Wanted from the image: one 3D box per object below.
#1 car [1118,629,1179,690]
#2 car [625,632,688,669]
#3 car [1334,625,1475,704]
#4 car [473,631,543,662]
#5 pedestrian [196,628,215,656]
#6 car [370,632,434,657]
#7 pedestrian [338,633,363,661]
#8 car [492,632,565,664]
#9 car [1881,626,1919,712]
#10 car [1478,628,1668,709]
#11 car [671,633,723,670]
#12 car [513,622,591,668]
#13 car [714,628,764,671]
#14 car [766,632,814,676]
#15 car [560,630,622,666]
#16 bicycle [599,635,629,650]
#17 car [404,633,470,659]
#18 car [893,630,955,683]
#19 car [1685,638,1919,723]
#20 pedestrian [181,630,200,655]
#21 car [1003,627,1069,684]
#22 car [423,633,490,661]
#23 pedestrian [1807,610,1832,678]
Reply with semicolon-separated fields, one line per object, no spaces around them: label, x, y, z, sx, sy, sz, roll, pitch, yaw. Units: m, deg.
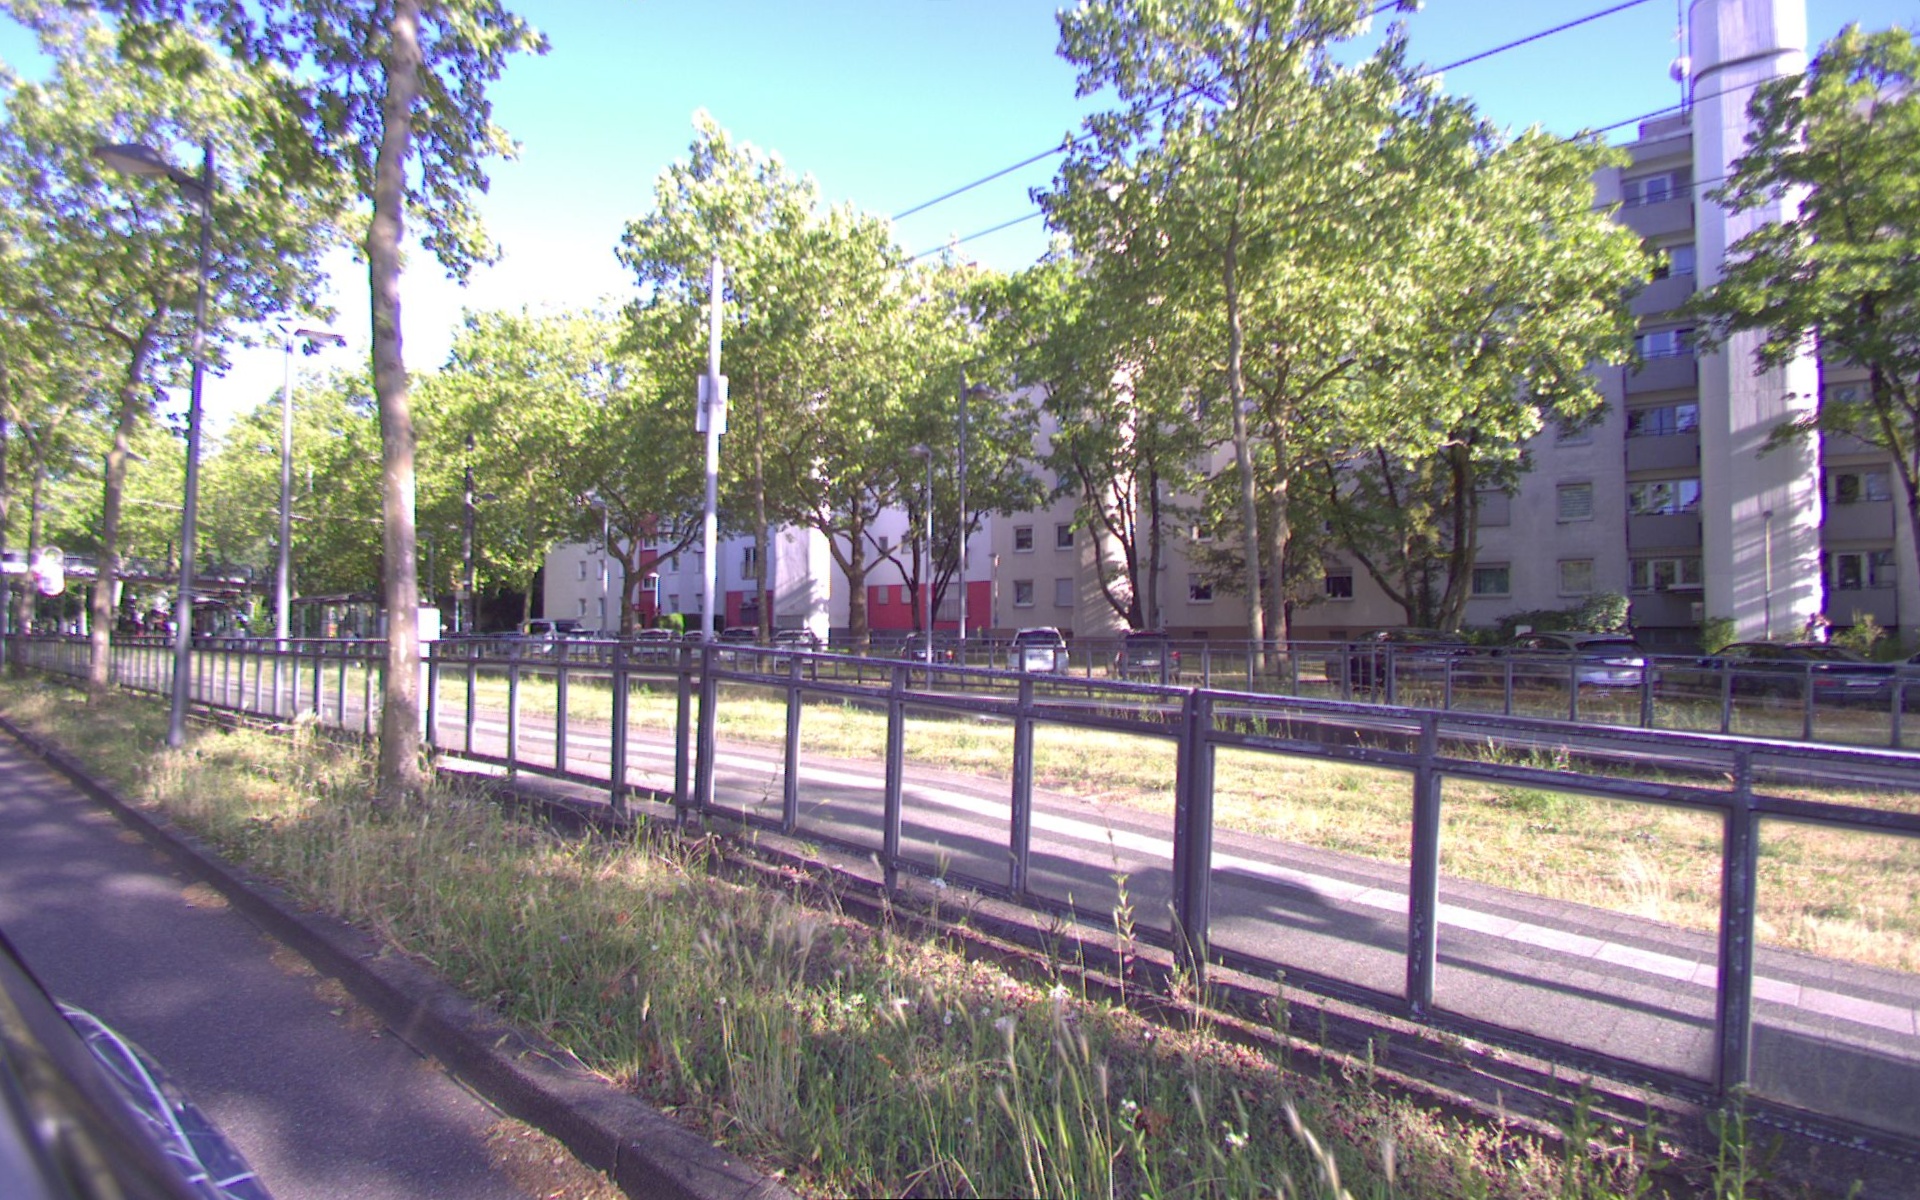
car;5.038;1.556;27.343;1.448;1.520;3.375;-1;-2;8
car;-13.302;2.183;44.606;1.870;1.515;4.506;-1;-2;-7
car;9.693;1.362;22.327;1.442;1.559;3.142;-1;-1;-5
car;-24.829;2.537;55.769;1.873;1.509;4.500;-2;-1;0
pedestrian;-45.354;2.514;60.829;0.715;1.647;0.721;-1;-3;39
car;-36.402;2.891;66.165;1.678;1.439;4.196;-2;-1;3
pedestrian;-25.832;1.999;42.887;0.662;1.136;0.687;-1;-5;43
car;-22.537;2.475;53.035;1.873;1.509;4.500;-2;-1;0
car;17.211;1.164;16.365;1.549;1.442;3.287;-1;-1;-1
car;12.172;1.303;20.353;1.516;1.437;3.388;0;-1;-5
car;-11.049;2.134;42.688;1.551;1.443;4.066;-1;-2;-7
car;-20.249;2.200;50.472;1.875;2.079;4.495;-2;-1;3
car;-8.749;1.925;40.331;1.551;1.580;4.066;-1;-2;-7
car;-6.267;1.953;37.640;1.551;1.485;4.066;-1;-2;-7
car;-17.704;2.259;48.739;1.665;1.623;4.061;-1;-2;-2
bicycle;-23.741;2.924;69.398;2.592;0.935;0.688;-3;-2;39
car;-31.628;2.773;61.360;1.678;1.439;4.196;-2;-1;3
car;-1.225;1.757;32.624;1.621;1.556;4.181;-1;-2;-7
car;14.808;1.359;17.985;1.445;1.263;3.382;-1;-1;2
pedestrian;-46.103;2.549;60.641;0.681;1.525;0.638;-1;-4;29
car;2.177;1.590;30.013;1.623;1.556;3.992;-1;-2;0
car;-29.538;2.725;59.491;1.678;1.439;4.196;-2;-1;3
pedestrian;22.886;1.169;26.947;0.449;1.805;0.315;-2;-2;36
